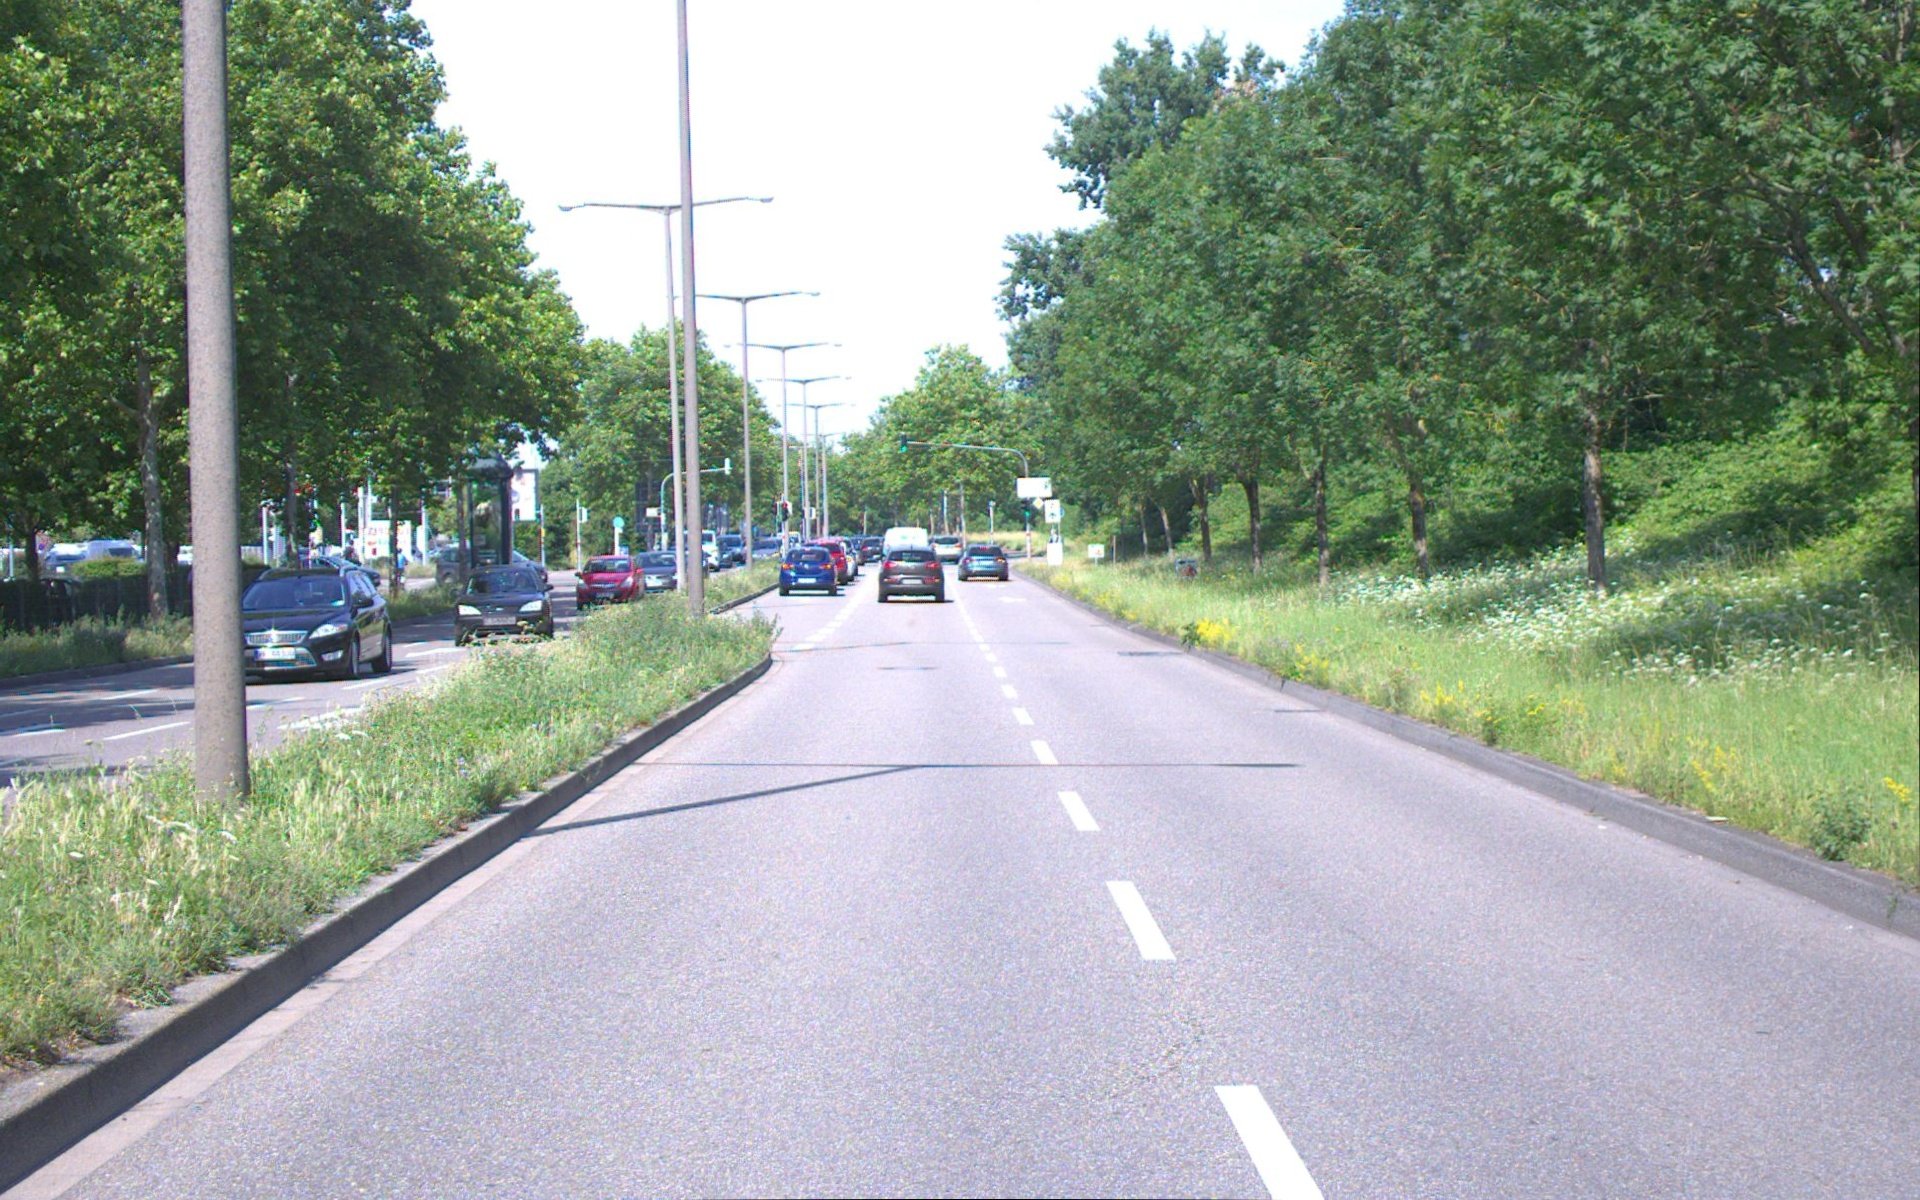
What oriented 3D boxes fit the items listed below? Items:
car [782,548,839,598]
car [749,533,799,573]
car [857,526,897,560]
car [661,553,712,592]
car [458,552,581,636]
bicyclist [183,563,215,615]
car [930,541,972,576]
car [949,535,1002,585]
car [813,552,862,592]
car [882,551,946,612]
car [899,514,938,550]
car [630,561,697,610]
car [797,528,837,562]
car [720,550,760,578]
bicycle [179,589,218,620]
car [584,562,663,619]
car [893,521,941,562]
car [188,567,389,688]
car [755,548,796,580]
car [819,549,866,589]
[{"bbox_3d":[-4.558,-0.839,105.063,1.626,1.478,4.049,1,1,-1],"label":"car"},{"bbox_3d":[-8.269,-2.104,152.740,1.993,1.702,4.263,-1,1,-1],"label":"car"},{"bbox_3d":[-4.191,-2.868,173.694,1.934,1.641,4.000,-1,1,0],"label":"car"},{"bbox_3d":[-10.919,-1.101,137.399,1.768,1.464,4.284,-2,1,-1],"label":"car"},{"bbox_3d":[-8.236,-0.141,64.613,1.772,1.462,4.671,-2,1,-2],"label":"car"},{"bbox_3d":[-22.048,-0.317,99.641,0.681,1.480,0.942,-2,1,0],"label":"bicyclist"},{"bbox_3d":[-0.464,-2.068,172.256,1.993,1.702,4.263,-1,1,-1],"label":"car"},{"bbox_3d":[0.584,-1.552,132.574,2.018,1.831,4.000,0,1,0],"label":"car"},{"bbox_3d":[-4.652,-1.082,130.745,1.766,1.474,4.136,0,1,-1],"label":"car"},{"bbox_3d":[-1.281,-0.538,96.967,1.736,1.530,4.001,0,3,0],"label":"car"},{"bbox_3d":[-2.434,-3.945,199.068,1.993,2.007,4.001,-1,1,-4],"label":"car"},{"bbox_3d":[-9.450,-0.478,109.838,1.839,1.473,4.166,-1,1,-1],"label":"car"},{"bbox_3d":[-7.945,-3.047,191.067,1.993,1.853,4.000,-1,1,1],"label":"car"},{"bbox_3d":[-12.500,-2.056,195.560,1.993,1.525,4.682,-2,1,0],"label":"car"},{"bbox_3d":[-22.041,0.132,99.526,0.689,0.863,1.926,-2,1,0],"label":"bicycle"},{"bbox_3d":[-9.356,-0.280,95.814,1.763,1.457,4.000,-2,1,0],"label":"car"},{"bbox_3d":[-1.850,-2.528,148.072,1.993,1.702,4.263,-1,1,0],"label":"car"},{"bbox_3d":[-8.839,0.319,45.629,1.827,1.462,4.989,-1,1,-2],"label":"car"},{"bbox_3d":[-10.622,-2.084,197.957,1.993,1.769,4.000,-1,1,2],"label":"car"},{"bbox_3d":[-4.909,-1.310,143.901,1.881,1.612,4.213,0,1,-1],"label":"car"}]
